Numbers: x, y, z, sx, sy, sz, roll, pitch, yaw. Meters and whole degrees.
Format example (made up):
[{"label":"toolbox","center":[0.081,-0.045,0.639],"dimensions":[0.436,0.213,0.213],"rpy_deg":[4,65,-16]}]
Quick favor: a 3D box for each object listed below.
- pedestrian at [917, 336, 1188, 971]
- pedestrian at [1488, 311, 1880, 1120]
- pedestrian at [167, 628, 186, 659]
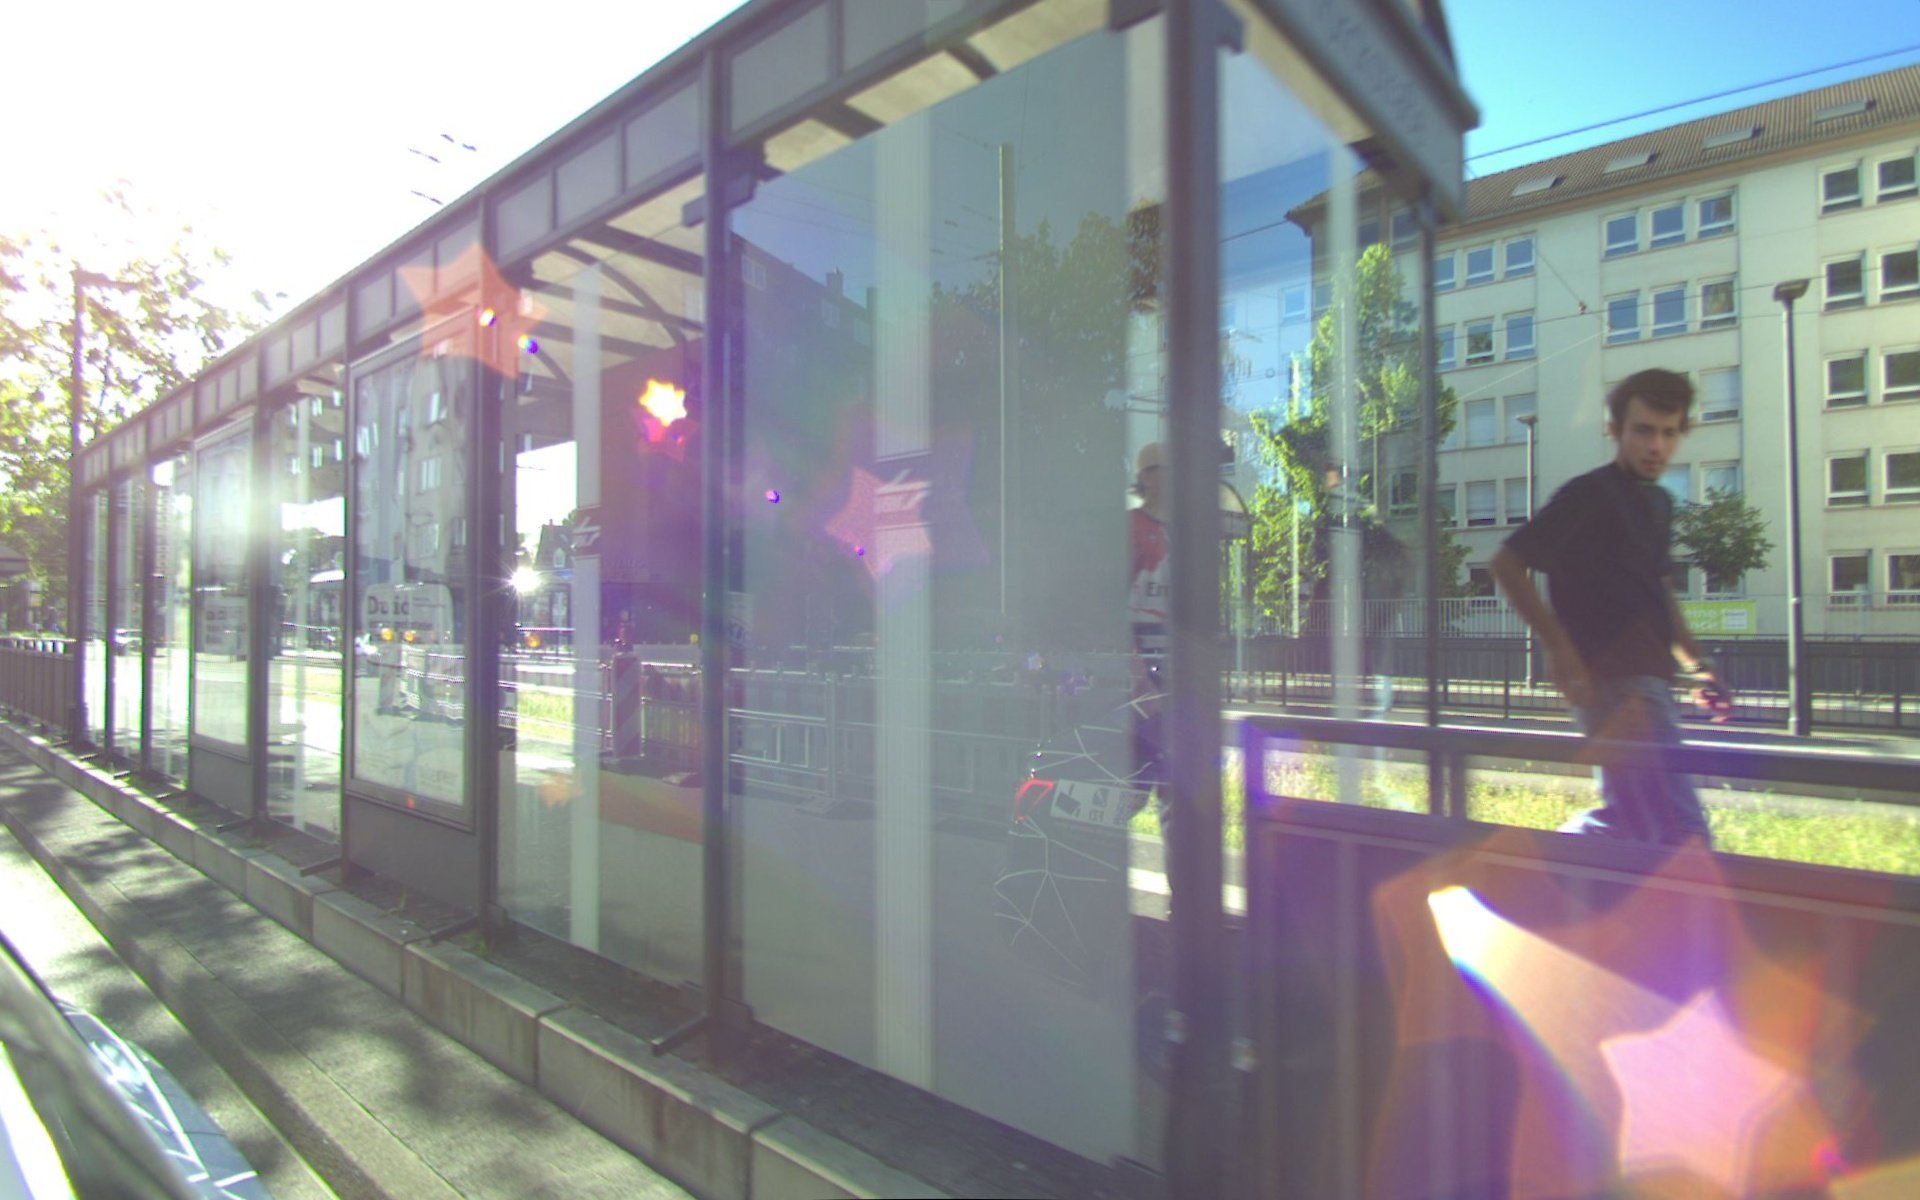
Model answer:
[{"label":"pedestrian","center":[0.337,0.175,3.723],"dimensions":[0.716,2.029,0.660],"rpy_deg":[-2,-2,42]},{"label":"pedestrian","center":[1.967,0.260,2.761],"dimensions":[0.754,1.797,0.674],"rpy_deg":[-2,-2,42]},{"label":"pedestrian","center":[-41.218,2.292,53.224],"dimensions":[0.735,1.604,0.677],"rpy_deg":[-2,-2,42]}]
